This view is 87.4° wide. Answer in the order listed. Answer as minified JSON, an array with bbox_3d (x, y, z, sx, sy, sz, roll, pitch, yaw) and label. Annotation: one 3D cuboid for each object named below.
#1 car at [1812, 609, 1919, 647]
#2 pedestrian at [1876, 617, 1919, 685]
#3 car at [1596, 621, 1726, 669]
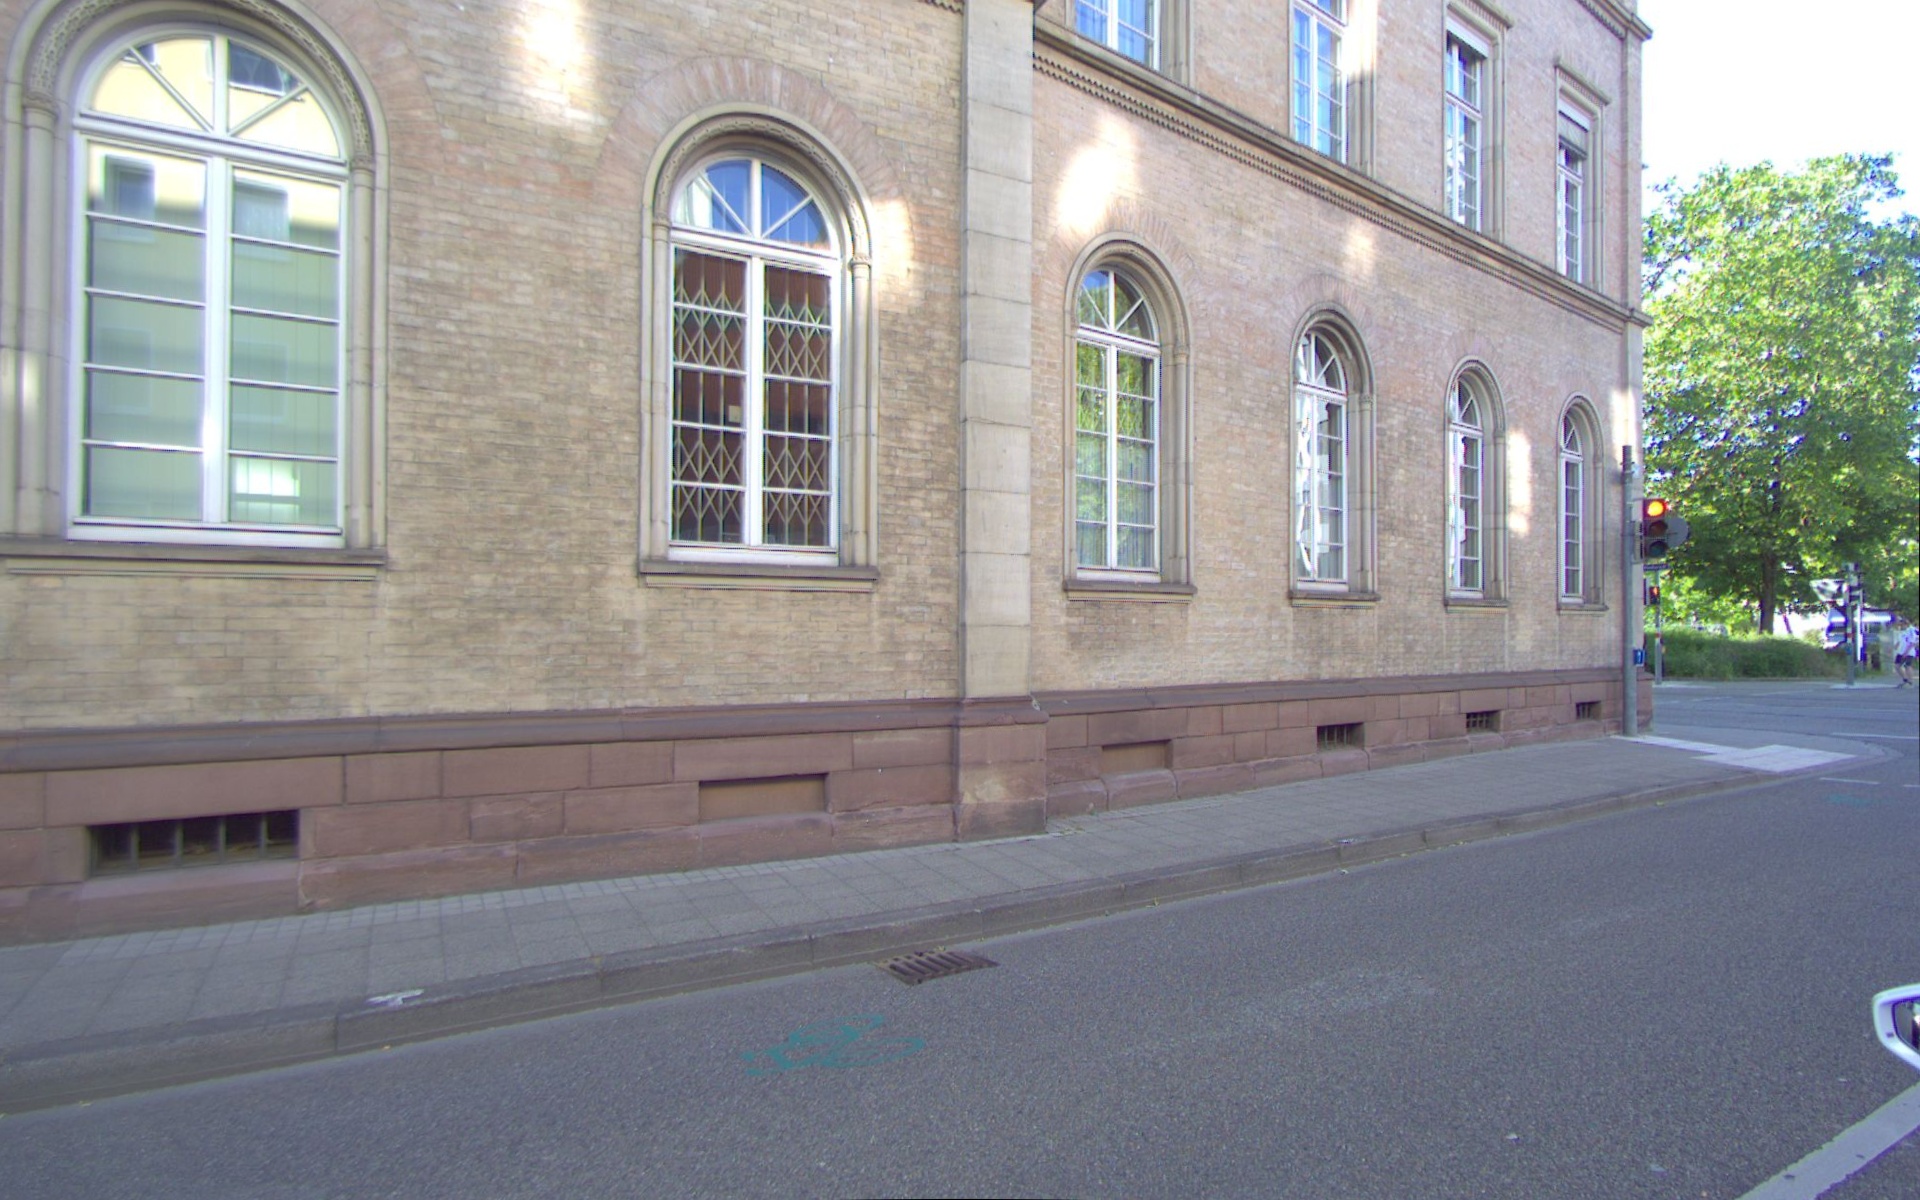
[{"bbox_3d":[53.454,1.613,59.346,1.983,2.040,4.409,2,0,-38],"label":"car"},{"bbox_3d":[27.031,1.458,28.874,0.902,1.893,0.740,2,0,37],"label":"pedestrian"},{"bbox_3d":[24.393,1.522,35.035,1.636,1.476,3.382,2,0,-39],"label":"car"}]
